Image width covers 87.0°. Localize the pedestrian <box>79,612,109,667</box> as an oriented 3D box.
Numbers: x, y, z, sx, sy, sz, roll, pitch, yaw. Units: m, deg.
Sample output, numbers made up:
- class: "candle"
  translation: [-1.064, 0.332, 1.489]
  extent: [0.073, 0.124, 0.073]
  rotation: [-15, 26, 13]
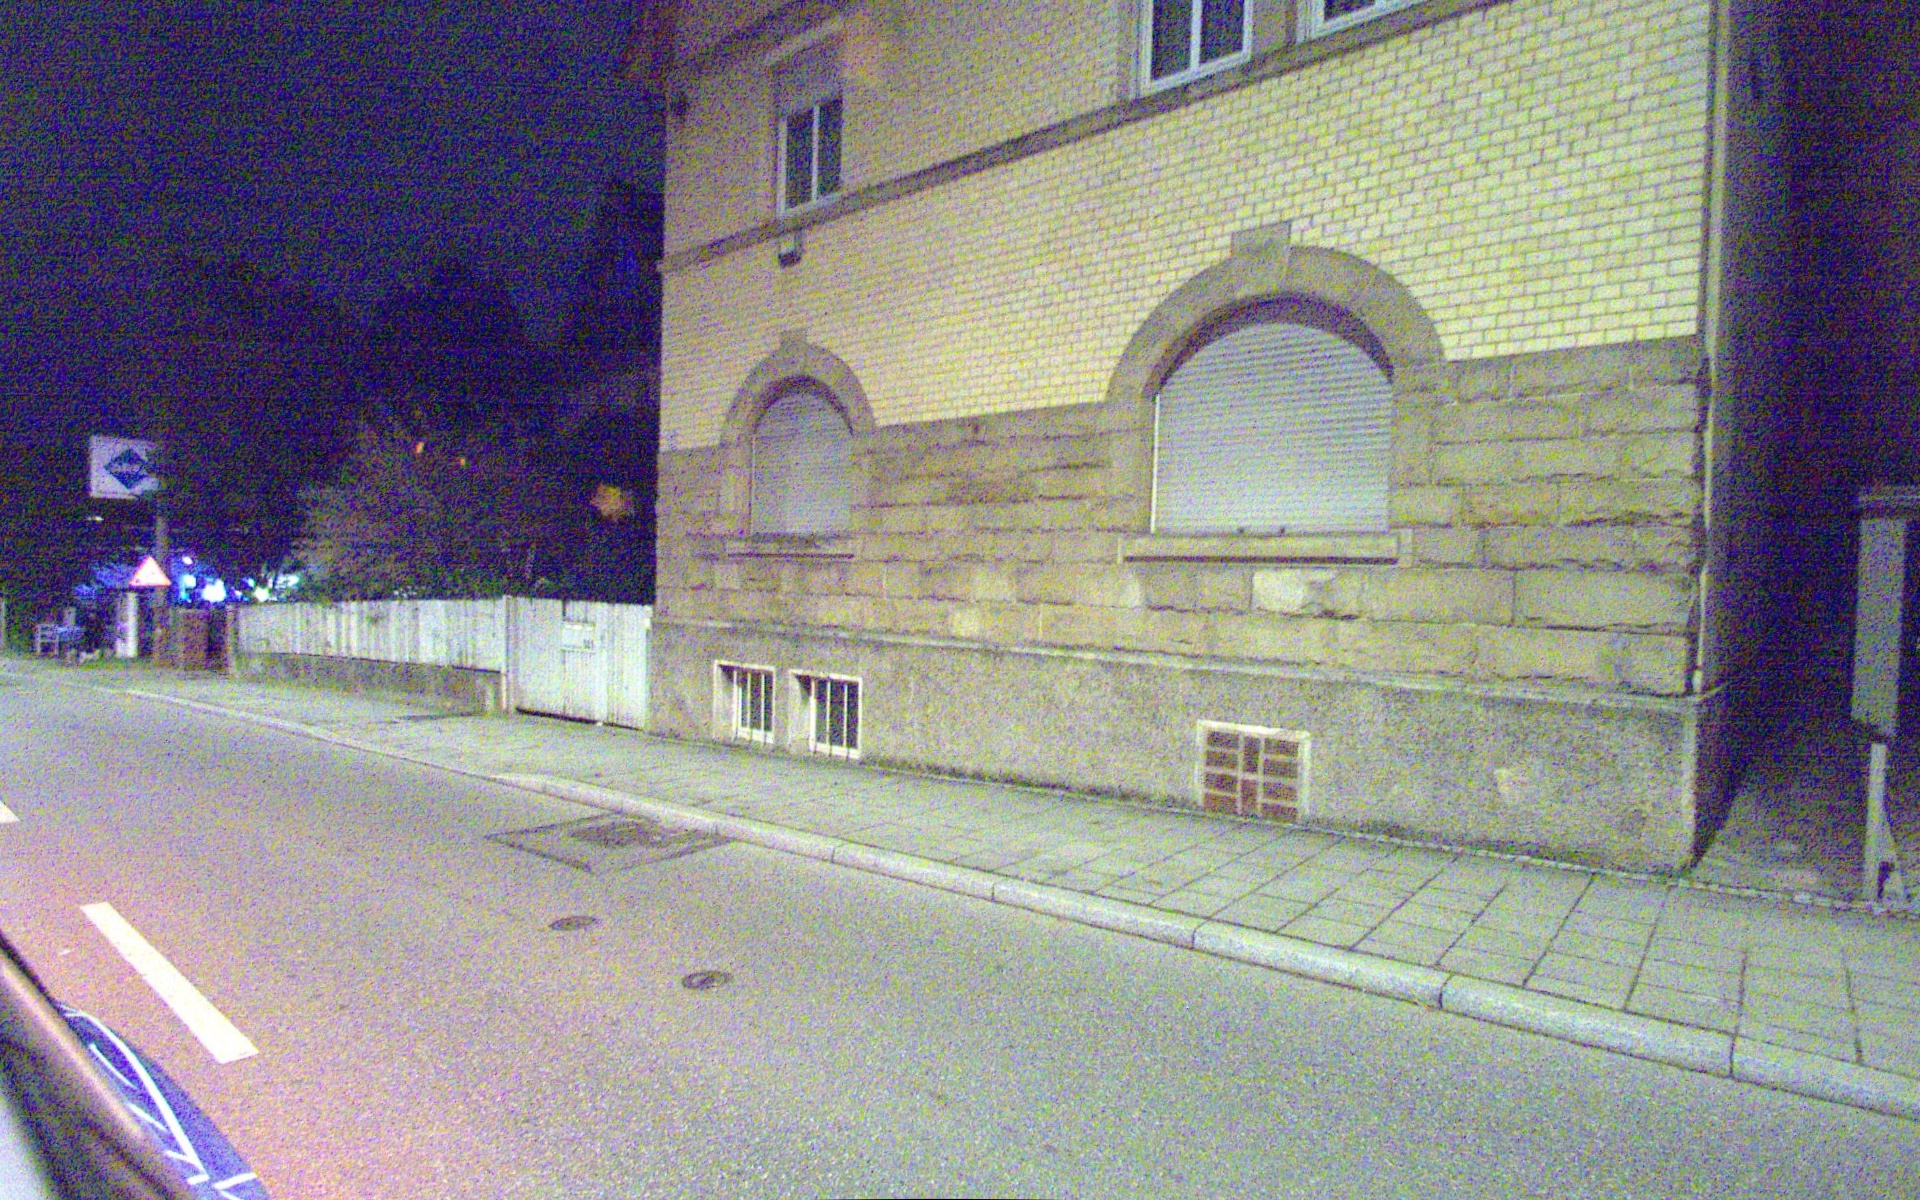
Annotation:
- class: "pedestrian"
  translation: [-28.396, 1.287, 33.182]
  extent: [0.500, 1.773, 0.664]
  rotation: [-1, 0, 41]
